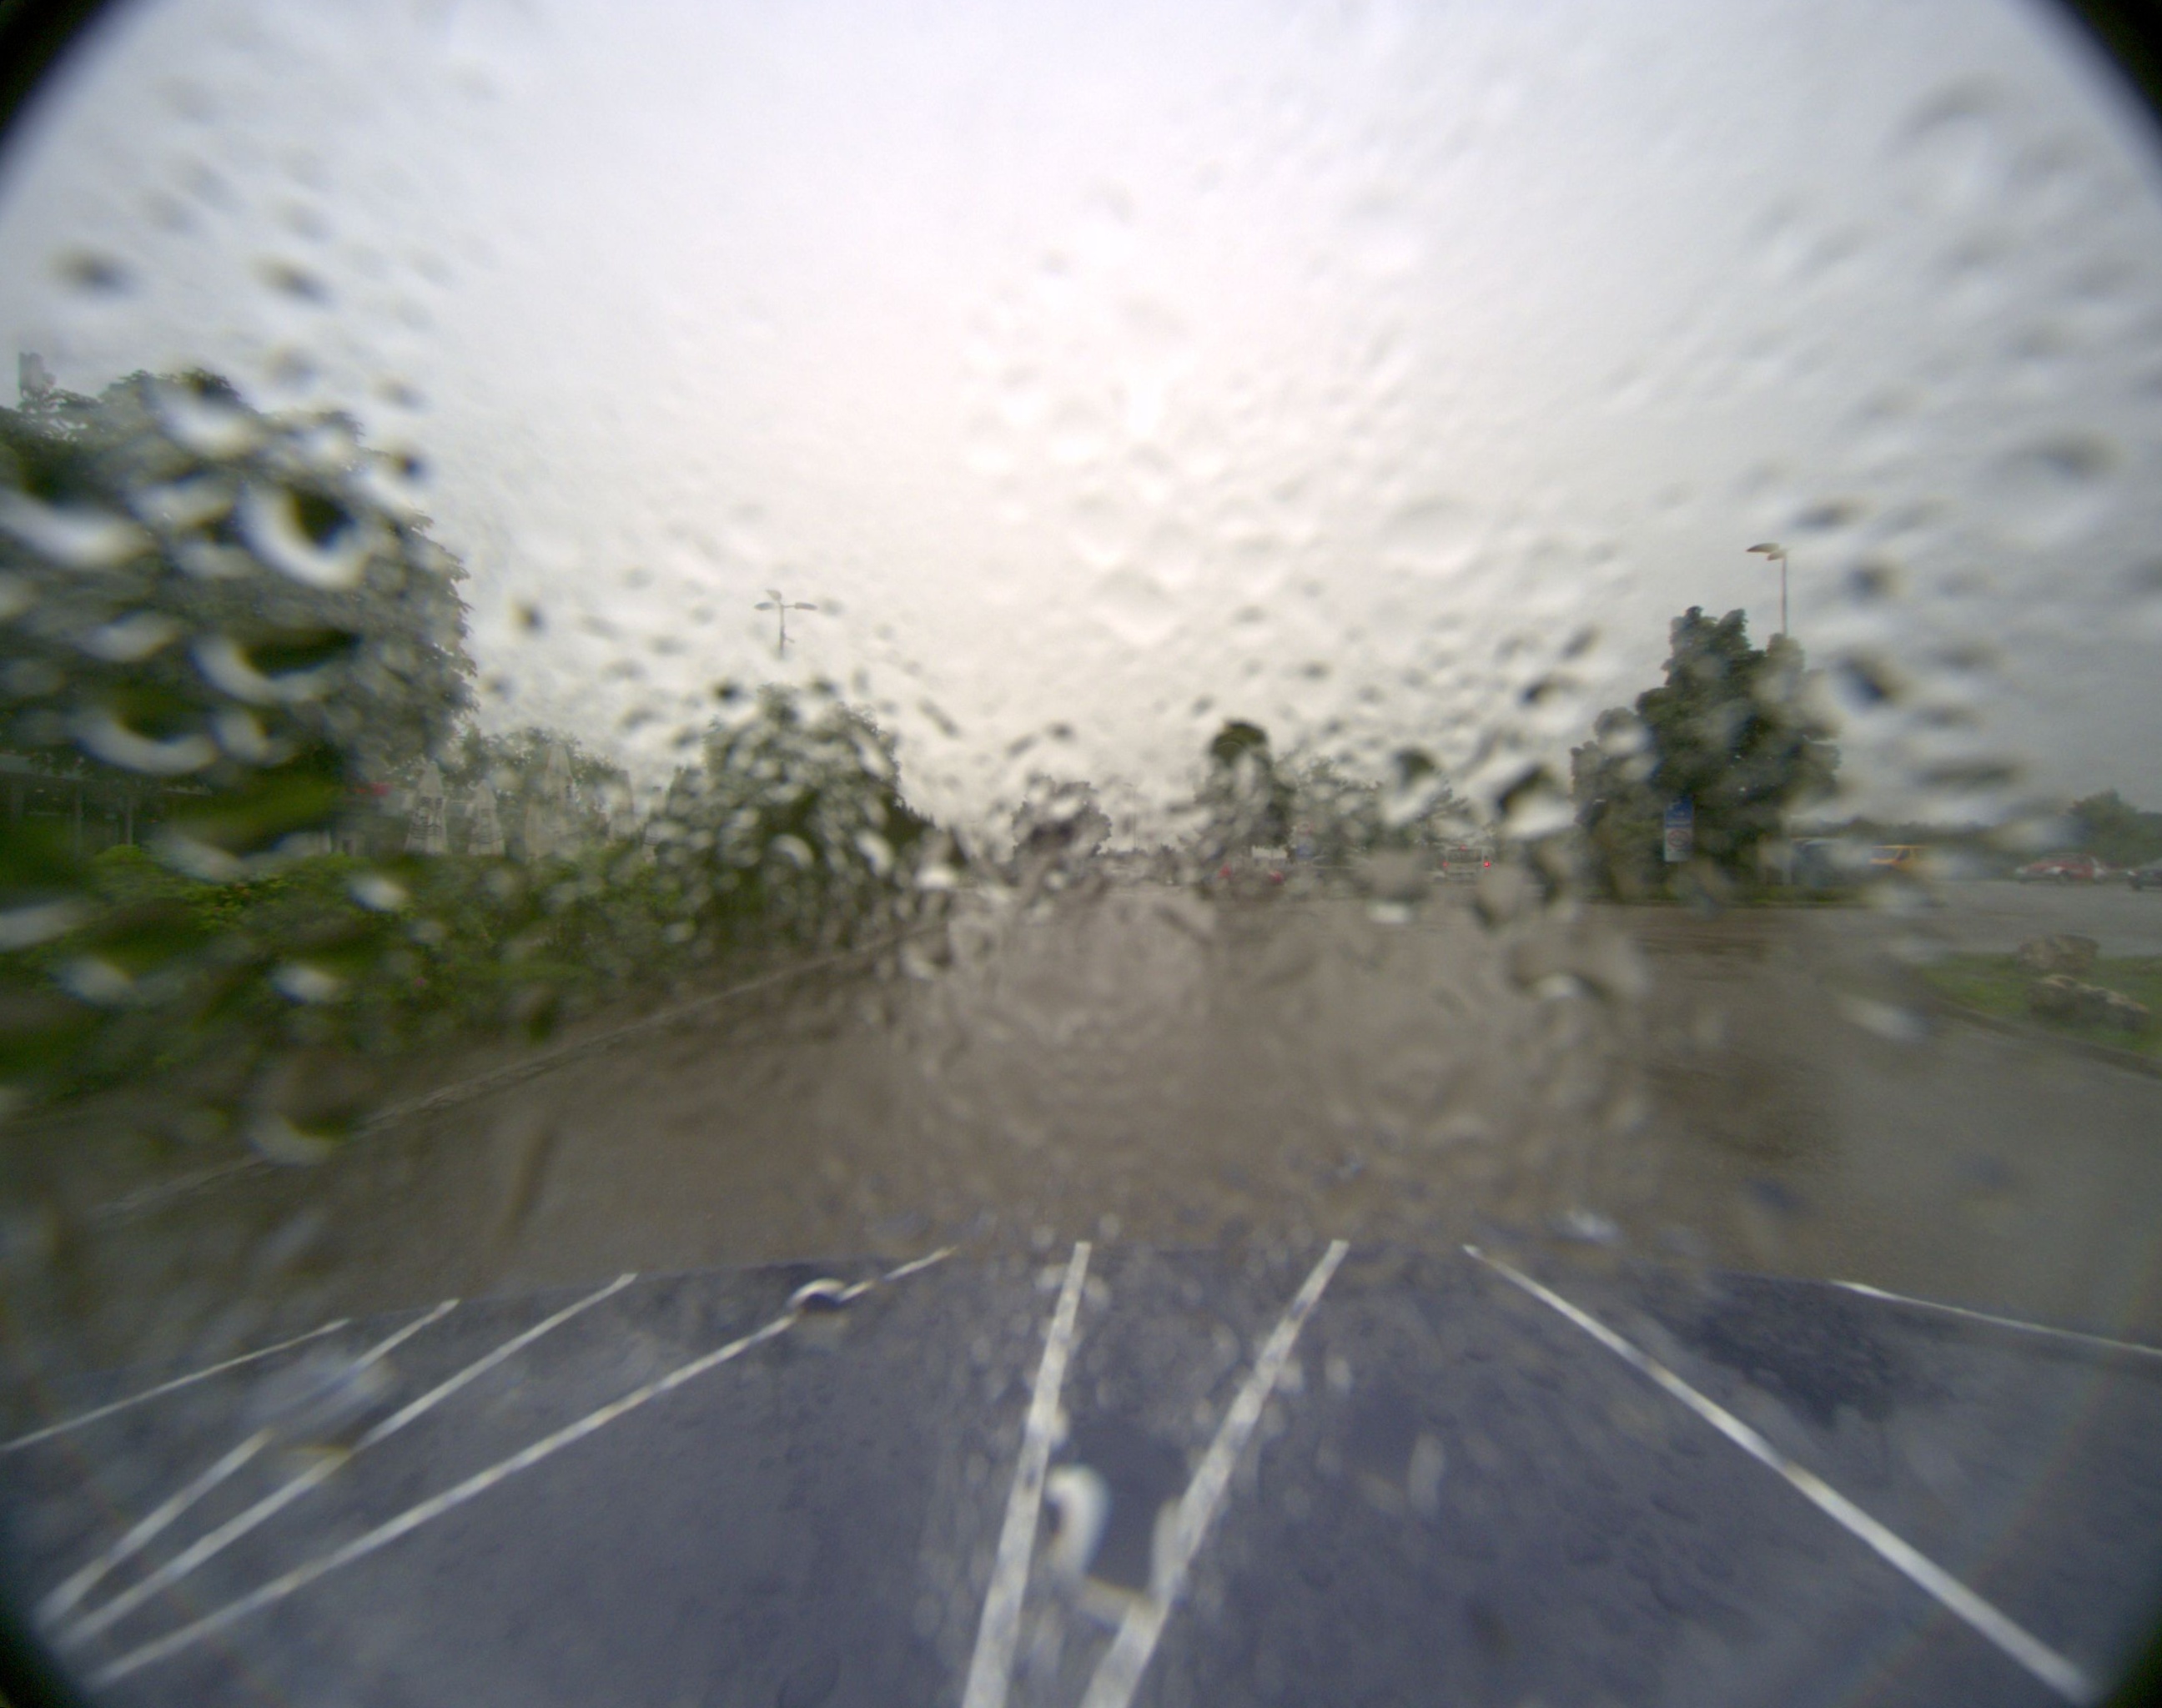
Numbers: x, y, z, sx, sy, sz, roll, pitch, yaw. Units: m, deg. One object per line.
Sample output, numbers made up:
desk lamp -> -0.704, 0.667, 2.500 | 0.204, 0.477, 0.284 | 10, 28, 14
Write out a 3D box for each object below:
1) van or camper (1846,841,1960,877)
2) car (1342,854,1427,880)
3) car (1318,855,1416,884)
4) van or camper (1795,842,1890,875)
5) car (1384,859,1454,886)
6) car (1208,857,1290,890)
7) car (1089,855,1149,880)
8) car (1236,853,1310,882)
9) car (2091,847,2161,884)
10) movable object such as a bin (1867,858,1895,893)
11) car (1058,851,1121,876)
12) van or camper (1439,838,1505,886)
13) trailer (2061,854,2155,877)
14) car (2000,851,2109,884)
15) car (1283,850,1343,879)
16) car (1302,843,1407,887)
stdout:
van or camper -> 53.598, 0.298, 49.564 | 6.420, 2.233, 2.132 | 0, 1, -13
car -> 19.516, 0.823, 48.867 | 4.755, 1.578, 2.004 | 0, 1, 33
car -> 15.666, 0.817, 41.737 | 4.755, 1.463, 1.889 | 0, 1, 33
van or camper -> 63.250, 0.353, 63.108 | 7.071, 2.700, 1.997 | 0, 2, -13
car -> 26.604, 1.421, 59.797 | 4.755, 2.069, 2.004 | 0, 1, 33
car -> 10.015, 1.133, 45.265 | 4.389, 1.874, 1.929 | 0, 1, 30
car -> 2.740, 0.953, 54.985 | 4.037, 1.683, 1.716 | 0, 1, 34
car -> 12.617, 0.877, 49.967 | 4.389, 1.768, 1.929 | 0, 1, 30
car -> 42.994, 0.434, 29.627 | 4.070, 1.425, 1.782 | 0, 0, 17
movable object such as a bin -> 21.435, 0.568, 20.348 | 0.490, 0.933, 0.449 | -1, 1, -37
car -> 0.581, 0.661, 52.787 | 4.037, 1.683, 1.803 | 0, 1, 35
van or camper -> 18.613, 0.327, 36.033 | 2.188, 1.934, 5.206 | 0, 3, 34
trailer -> 51.131, 0.570, 37.841 | 3.030, 1.061, 1.588 | 1, 0, -10
car -> 47.590, 0.640, 37.168 | 4.057, 1.546, 1.548 | 0, 1, -10
car -> 16.626, 0.751, 54.479 | 3.776, 2.002, 1.790 | -1, 0, 29
car -> 14.123, 0.543, 39.352 | 4.755, 2.176, 2.004 | 0, 1, 33
